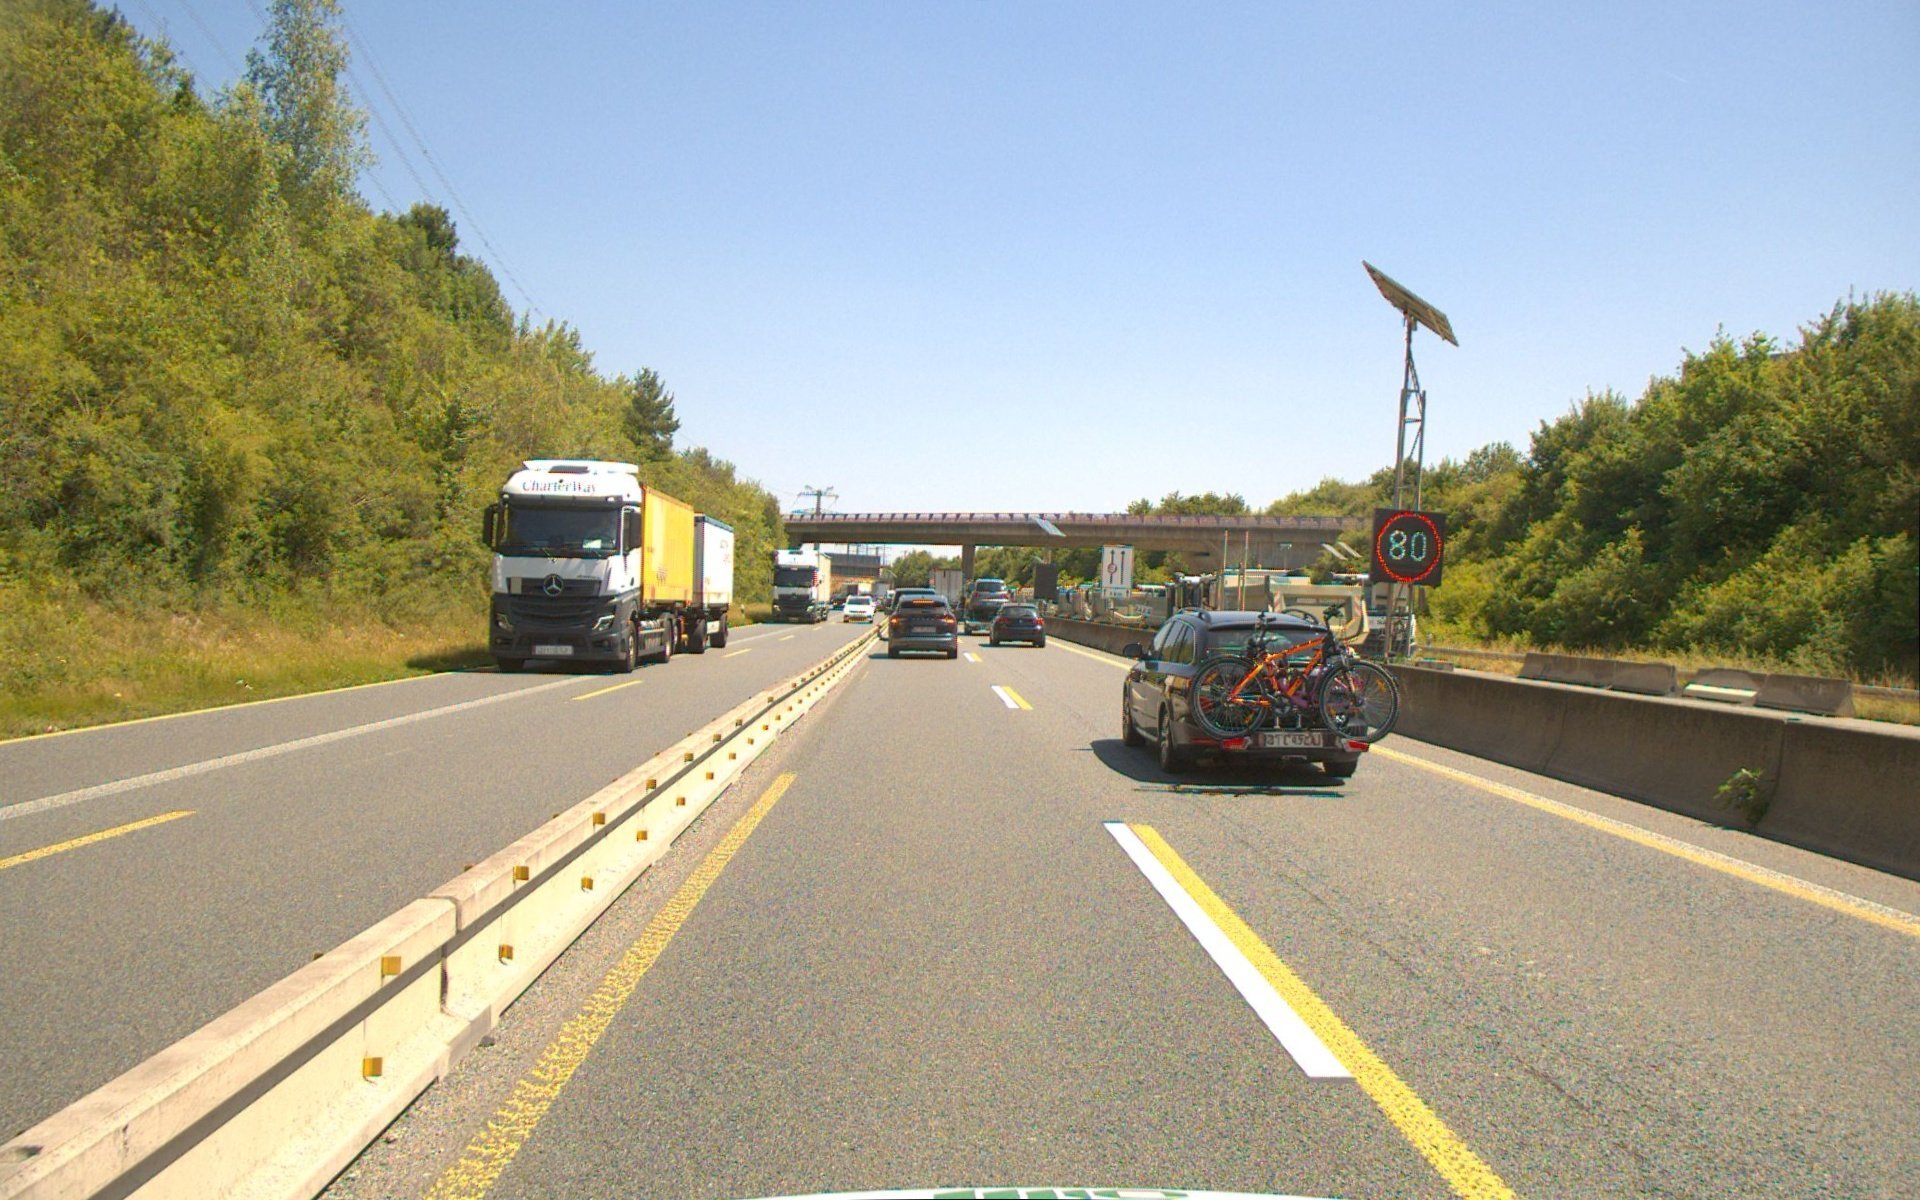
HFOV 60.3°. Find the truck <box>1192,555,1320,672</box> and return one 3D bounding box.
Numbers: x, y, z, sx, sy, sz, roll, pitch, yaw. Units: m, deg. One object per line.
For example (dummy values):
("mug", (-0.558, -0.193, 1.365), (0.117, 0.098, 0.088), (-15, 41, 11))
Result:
("truck", (9.798, 0.409, 55.663), (2.482, 3.572, 8.942), (1, 0, -1))

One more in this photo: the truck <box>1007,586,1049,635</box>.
("truck", (5.593, 0.845, 137.300), (2.633, 3.826, 9.320), (1, 0, -2))

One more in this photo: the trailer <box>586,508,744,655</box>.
("trailer", (-7.637, -0.455, 44.074), (2.597, 3.394, 8.917), (3, 0, -1))

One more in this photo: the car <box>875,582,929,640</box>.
("car", (-2.119, 0.397, 61.272), (1.861, 2.003, 4.275), (1, 0, -1))

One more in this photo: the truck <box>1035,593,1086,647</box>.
("truck", (7.145, 1.380, 118.856), (2.633, 3.619, 9.320), (1, 0, -3))

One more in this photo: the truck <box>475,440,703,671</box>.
("truck", (-7.470, -0.806, 34.807), (2.596, 4.061, 9.648), (3, 0, -1))

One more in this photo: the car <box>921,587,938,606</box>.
("car", (-3.301, -0.405, 179.107), (1.861, 2.003, 4.275), (1, 0, -1))

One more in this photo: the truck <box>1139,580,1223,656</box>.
("truck", (11.206, 0.880, 84.787), (2.633, 3.619, 9.599), (1, 0, -2))

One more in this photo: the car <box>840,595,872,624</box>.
("car", (-6.277, 0.577, 100.398), (1.788, 1.659, 4.149), (1, 0, -2))

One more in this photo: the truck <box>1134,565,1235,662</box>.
("truck", (9.041, 0.499, 67.691), (2.487, 3.619, 9.599), (1, 0, -2))

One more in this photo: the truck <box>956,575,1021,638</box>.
("truck", (1.194, 0.262, 73.718), (2.357, 2.603, 7.496), (1, 0, -3))

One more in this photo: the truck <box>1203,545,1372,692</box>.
("truck", (8.762, 0.455, 45.393), (2.482, 3.572, 9.093), (1, 0, -2))

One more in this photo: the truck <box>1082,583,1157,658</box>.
("truck", (8.209, 1.013, 86.083), (2.633, 3.619, 9.599), (1, 0, -2))

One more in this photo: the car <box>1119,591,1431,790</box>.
("car", (2.711, 0.726, 15.455), (1.861, 1.516, 4.946), (1, 0, -1))

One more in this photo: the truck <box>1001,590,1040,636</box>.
("truck", (5.402, 1.139, 148.821), (2.633, 3.923, 9.320), (1, 0, -2))

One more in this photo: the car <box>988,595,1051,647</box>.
("car", (1.975, 0.690, 55.874), (1.860, 1.613, 4.275), (1, 0, -1))

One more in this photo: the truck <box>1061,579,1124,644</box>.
("truck", (7.787, 0.654, 98.169), (2.633, 3.619, 9.402), (1, 0, -2))

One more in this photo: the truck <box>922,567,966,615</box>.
("truck", (-1.460, -0.765, 143.735), (3.227, 3.912, 10.101), (1, 0, -4))

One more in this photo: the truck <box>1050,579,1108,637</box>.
("truck", (7.832, 0.484, 109.836), (2.633, 3.619, 9.320), (1, 0, -3))

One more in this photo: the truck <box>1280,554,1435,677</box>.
("truck", (12.590, 0.462, 53.149), (2.633, 3.572, 8.377), (1, 0, -2))

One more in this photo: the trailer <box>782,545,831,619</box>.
("trailer", (-9.689, -1.087, 104.852), (2.585, 4.388, 8.442), (2, 0, -3))

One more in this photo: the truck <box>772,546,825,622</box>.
("truck", (-9.235, -0.899, 95.472), (2.362, 4.062, 10.346), (2, 0, -3))

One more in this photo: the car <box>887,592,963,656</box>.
("car", (-0.913, 0.606, 43.517), (1.861, 1.531, 4.275), (1, 0, -1))

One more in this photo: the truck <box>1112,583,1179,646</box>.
("truck", (10.733, 0.777, 96.423), (2.633, 3.437, 9.600), (1, 0, -1))
